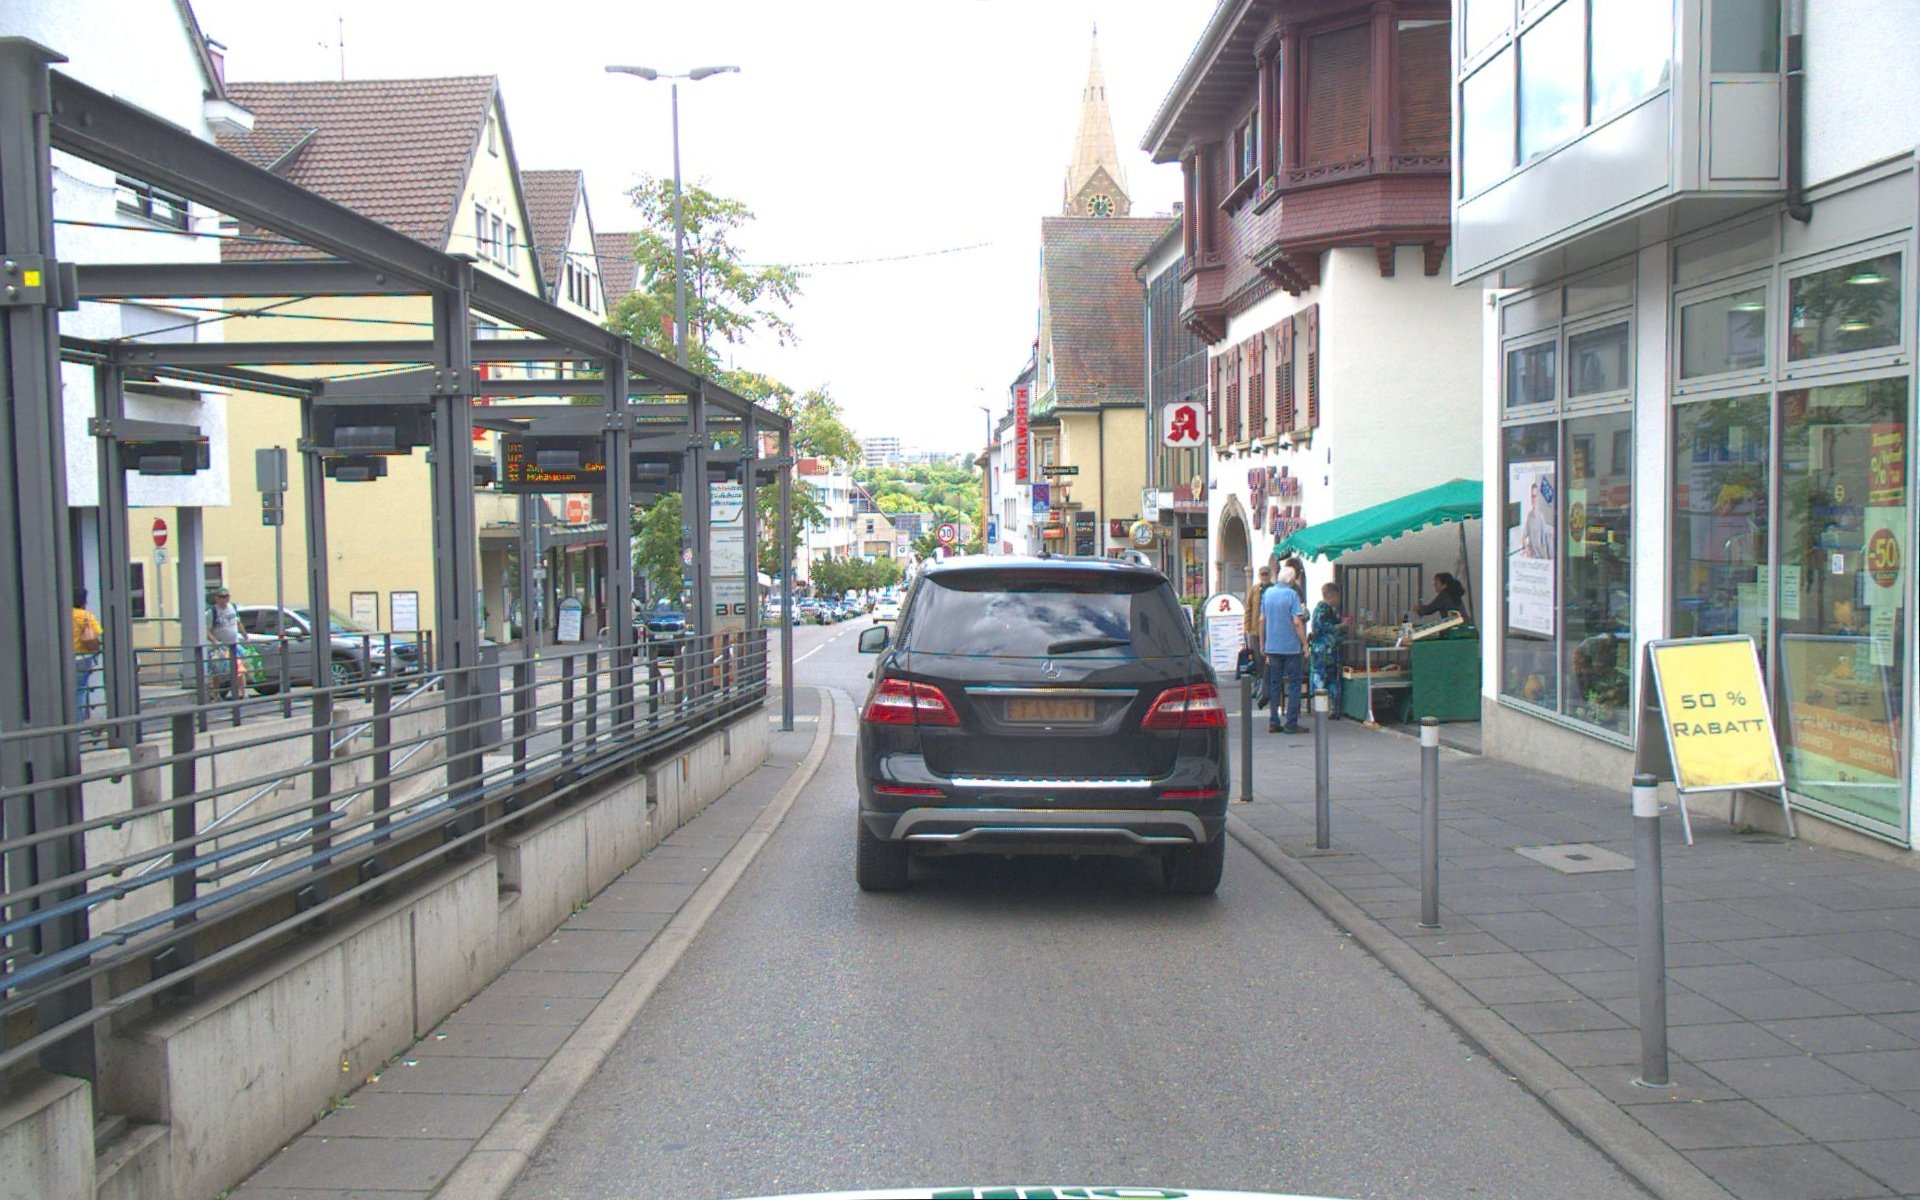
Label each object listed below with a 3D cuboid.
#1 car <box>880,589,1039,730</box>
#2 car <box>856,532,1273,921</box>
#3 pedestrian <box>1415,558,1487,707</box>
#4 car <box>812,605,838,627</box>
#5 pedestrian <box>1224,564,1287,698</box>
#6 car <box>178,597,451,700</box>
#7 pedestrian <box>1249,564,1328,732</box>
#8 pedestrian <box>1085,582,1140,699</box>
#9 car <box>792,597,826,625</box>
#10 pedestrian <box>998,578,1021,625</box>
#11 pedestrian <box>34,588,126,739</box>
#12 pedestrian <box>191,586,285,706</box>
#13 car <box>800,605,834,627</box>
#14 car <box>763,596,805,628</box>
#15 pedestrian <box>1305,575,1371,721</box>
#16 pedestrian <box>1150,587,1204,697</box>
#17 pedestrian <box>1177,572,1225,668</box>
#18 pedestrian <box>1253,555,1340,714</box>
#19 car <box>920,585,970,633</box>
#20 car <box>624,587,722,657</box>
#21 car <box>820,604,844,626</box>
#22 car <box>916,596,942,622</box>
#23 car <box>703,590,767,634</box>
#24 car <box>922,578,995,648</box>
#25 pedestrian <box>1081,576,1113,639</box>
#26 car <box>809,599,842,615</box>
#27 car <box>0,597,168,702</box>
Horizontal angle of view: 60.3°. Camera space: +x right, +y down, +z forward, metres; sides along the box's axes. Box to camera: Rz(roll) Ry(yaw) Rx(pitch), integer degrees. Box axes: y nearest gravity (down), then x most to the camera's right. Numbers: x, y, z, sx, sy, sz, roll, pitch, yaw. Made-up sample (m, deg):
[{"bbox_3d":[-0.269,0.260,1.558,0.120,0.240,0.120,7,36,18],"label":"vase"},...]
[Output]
[{"bbox_3d":[-0.091,0.671,20.791,1.750,1.567,3.742,-1,0,-4],"label":"car"},{"bbox_3d":[0.454,0.574,9.698,1.904,1.770,4.178,1,0,-1],"label":"car"},{"bbox_3d":[5.548,0.363,18.725,0.610,1.641,0.703,-1,0,4],"label":"pedestrian"},{"bbox_3d":[-10.063,1.164,123.375,1.889,1.523,4.258,1,0,-4],"label":"car"},{"bbox_3d":[4.125,0.422,23.143,0.769,1.833,0.676,-1,0,4],"label":"pedestrian"},{"bbox_3d":[-11.646,0.888,29.922,4.250,1.650,1.969,0,-6,19],"label":"car"},{"bbox_3d":[3.596,0.516,18.086,0.686,1.797,0.625,-1,0,24],"label":"pedestrian"},{"bbox_3d":[2.221,0.581,24.180,0.756,1.674,0.870,-1,0,4],"label":"pedestrian"},{"bbox_3d":[-9.283,0.683,102.087,1.888,1.650,4.637,0,-1,-3],"label":"car"},{"bbox_3d":[1.920,0.056,64.315,0.780,1.757,1.052,-2,0,-1],"label":"pedestrian"},{"bbox_3d":[-10.626,0.751,19.994,0.624,1.769,0.835,-2,0,-4],"label":"pedestrian"},{"bbox_3d":[-11.291,0.705,25.896,0.897,1.819,0.988,-1,0,15],"label":"pedestrian"},{"bbox_3d":[-9.467,1.045,109.850,1.887,1.455,4.261,0,0,-1],"label":"car"},{"bbox_3d":[-9.005,0.582,84.829,1.888,1.538,4.260,1,0,-3],"label":"car"},{"bbox_3d":[4.345,0.538,19.045,0.610,1.641,0.703,-1,0,4],"label":"pedestrian"},{"bbox_3d":[3.152,0.600,24.103,0.709,1.558,0.808,-1,0,4],"label":"pedestrian"},{"bbox_3d":[4.601,0.374,31.601,0.758,1.800,0.817,-1,0,0],"label":"pedestrian"},{"bbox_3d":[4.101,0.407,20.168,0.766,1.889,0.699,-1,0,41],"label":"pedestrian"},{"bbox_3d":[-0.561,0.318,61.653,1.713,1.636,3.799,-3,0,-1],"label":"car"},{"bbox_3d":[-7.700,0.550,44.785,1.966,1.723,4.606,1,1,-2],"label":"car"},{"bbox_3d":[-10.114,1.139,130.764,1.889,1.623,4.454,1,0,-5],"label":"car"},{"bbox_3d":[-2.475,0.689,129.699,1.899,1.924,4.705,-3,0,-2],"label":"car"},{"bbox_3d":[-8.396,0.426,62.127,1.888,1.518,4.840,1,0,-3],"label":"car"},{"bbox_3d":[-0.002,0.321,45.938,1.838,1.831,4.733,-1,0,2],"label":"car"},{"bbox_3d":[3.875,0.209,46.850,0.845,1.737,0.945,-1,0,4],"label":"pedestrian"},{"bbox_3d":[-16.112,0.837,198.344,3.910,1.780,1.998,-3,0,-5],"label":"car"},{"bbox_3d":[-19.058,1.052,34.199,4.249,1.837,2.002,-4,3,3],"label":"car"}]
